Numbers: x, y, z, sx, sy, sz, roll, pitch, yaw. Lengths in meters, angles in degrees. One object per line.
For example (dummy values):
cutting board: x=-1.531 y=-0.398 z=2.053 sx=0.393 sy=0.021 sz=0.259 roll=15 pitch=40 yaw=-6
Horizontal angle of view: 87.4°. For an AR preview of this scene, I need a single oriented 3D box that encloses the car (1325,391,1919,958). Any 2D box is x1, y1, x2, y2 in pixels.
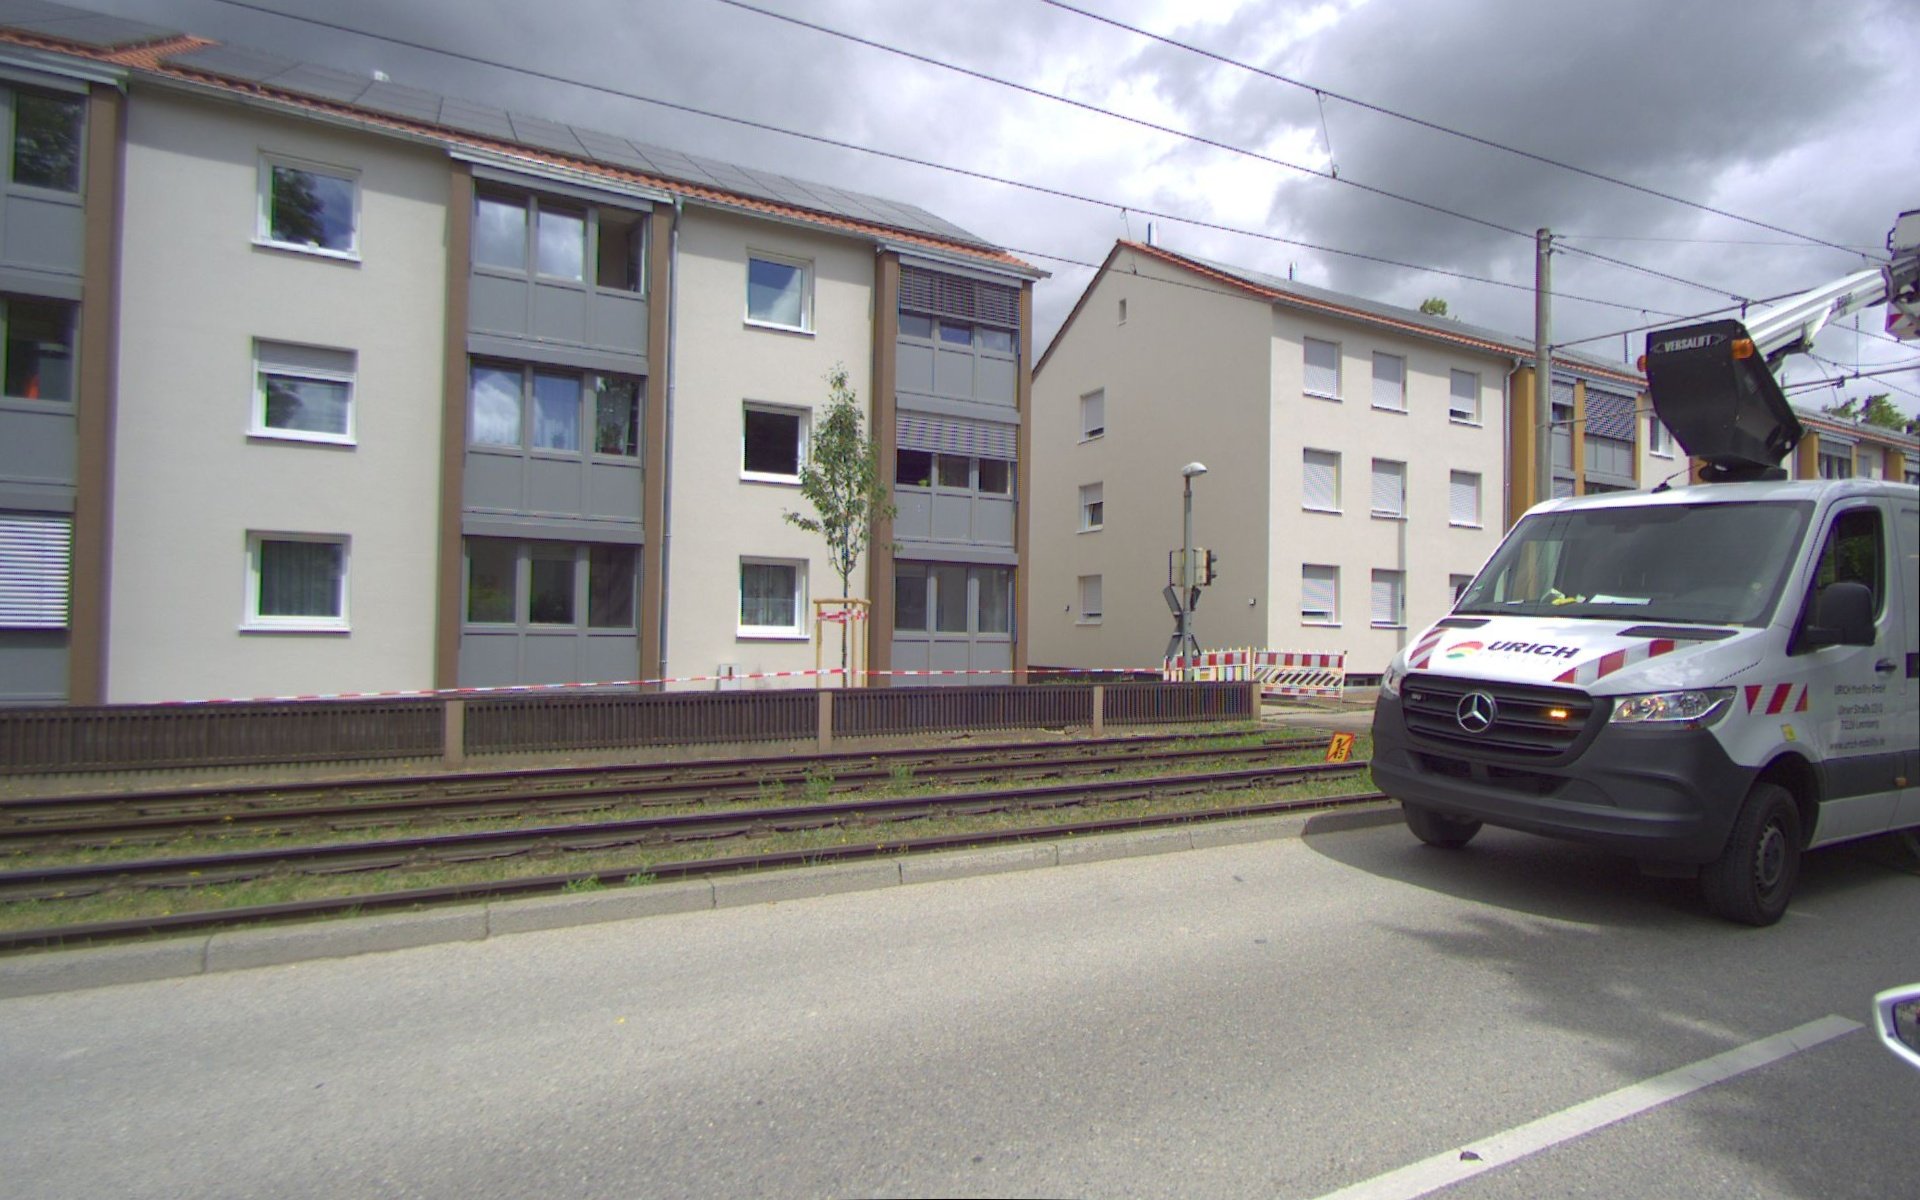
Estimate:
car: x=5.427 y=0.377 z=6.774 sx=6.245 sy=2.463 sz=1.985 roll=1 pitch=0 yaw=-29
